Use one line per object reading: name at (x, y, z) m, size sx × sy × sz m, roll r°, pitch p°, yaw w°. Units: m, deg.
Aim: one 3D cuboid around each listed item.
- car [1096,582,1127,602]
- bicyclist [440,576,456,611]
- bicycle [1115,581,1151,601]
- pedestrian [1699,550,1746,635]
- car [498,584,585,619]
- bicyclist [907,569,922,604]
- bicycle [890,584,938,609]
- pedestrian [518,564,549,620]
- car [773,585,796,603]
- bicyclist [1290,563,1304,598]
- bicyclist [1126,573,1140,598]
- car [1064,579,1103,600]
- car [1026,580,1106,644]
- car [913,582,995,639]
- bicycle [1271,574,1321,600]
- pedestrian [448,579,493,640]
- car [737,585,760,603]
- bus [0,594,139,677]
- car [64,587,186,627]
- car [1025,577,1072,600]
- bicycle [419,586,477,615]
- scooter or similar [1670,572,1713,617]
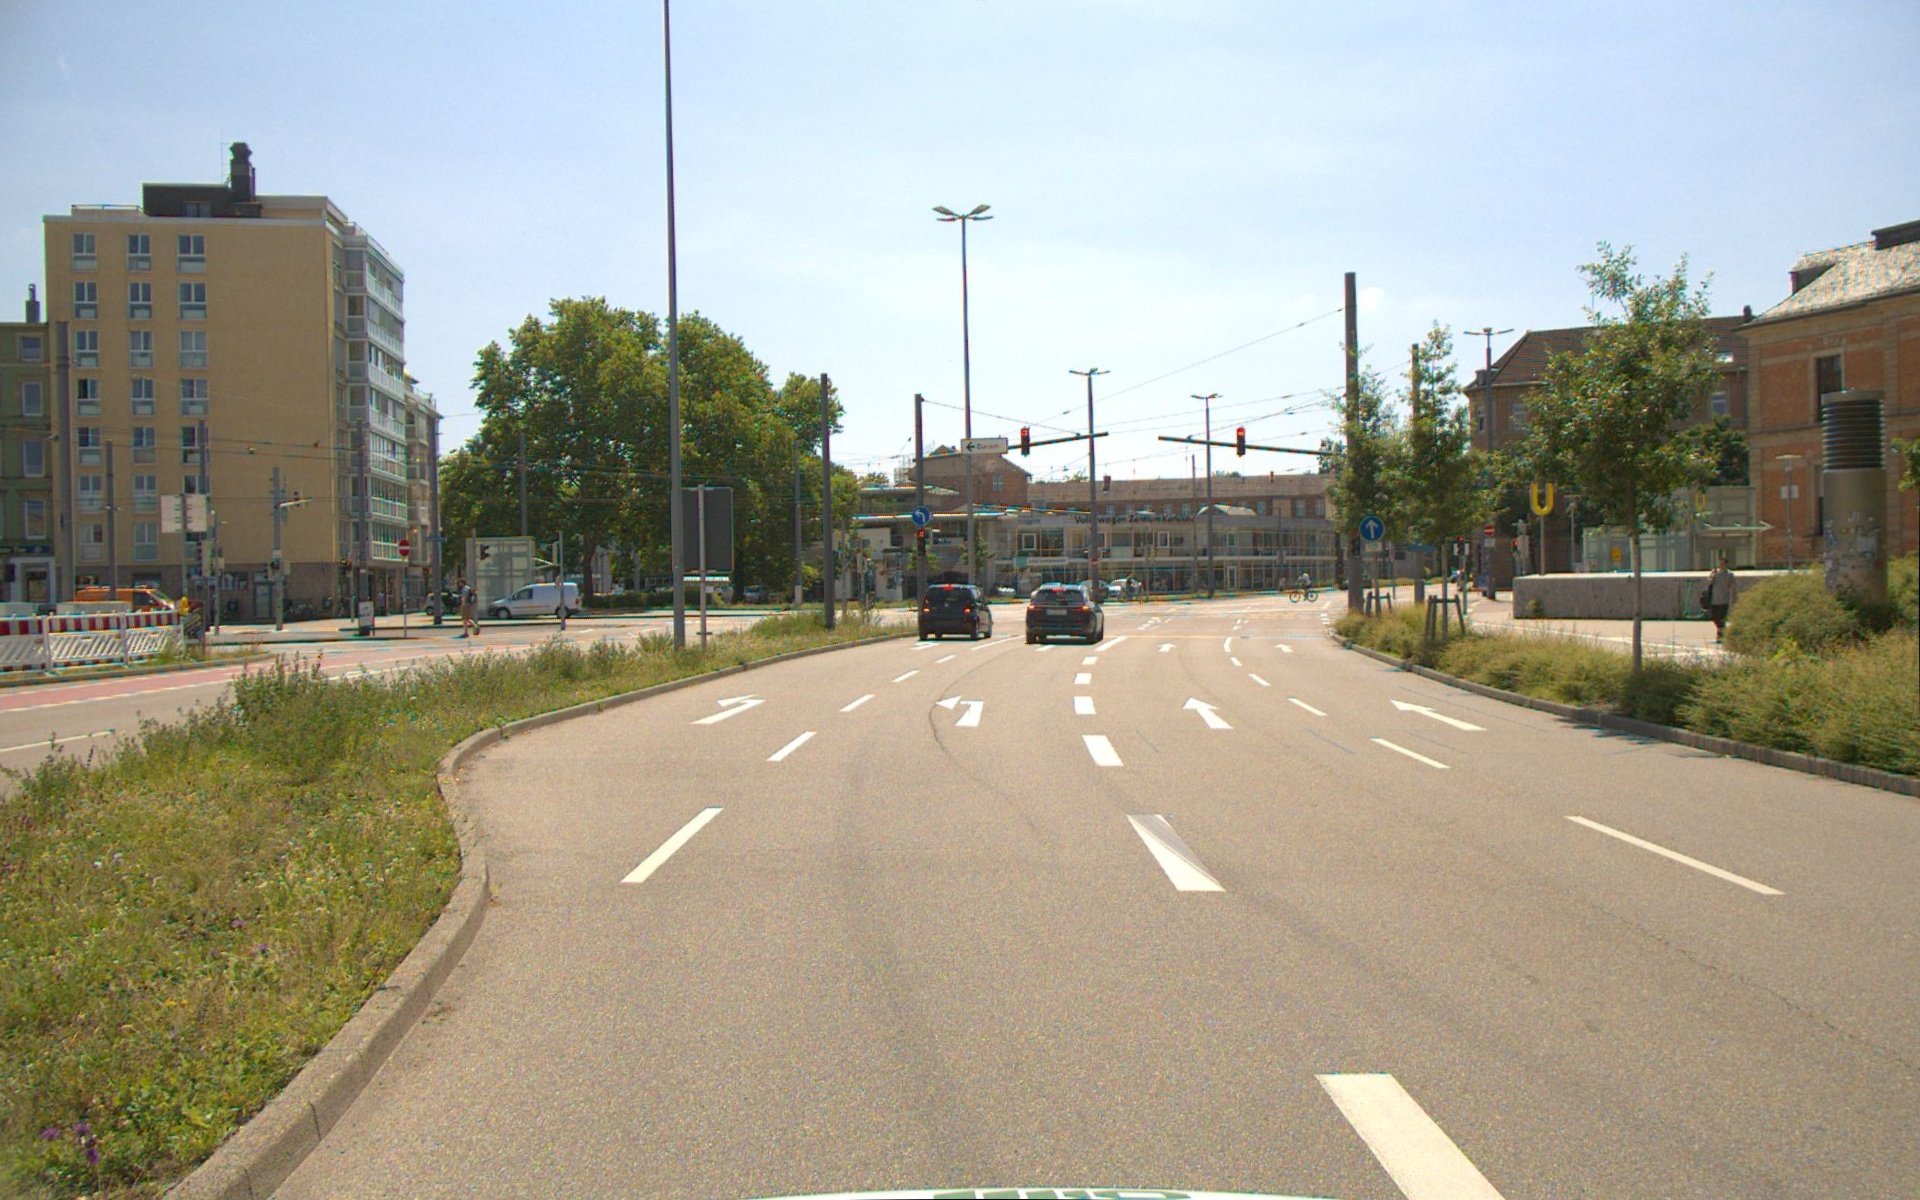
car at (11.031, -0.575, 120.541) m, size 1.402 × 1.307 × 3.262 m, roll 0°, pitch 3°, yaw 22°
bicyclist at (-31.610, -0.419, 102.122) m, size 0.731 × 2.142 × 0.766 m, roll -2°, pitch 3°, yaw -39°
bicycle at (10.594, -0.558, 101.427) m, size 2.120 × 1.126 × 0.456 m, roll -1°, pitch 2°, yaw -9°
pedestrian at (15.795, -0.157, 34.268) m, size 0.716 × 1.735 × 0.811 m, roll 0°, pitch 1°, yaw 11°
car at (-21.648, 0.072, 85.644) m, size 4.229 × 1.655 × 1.811 m, roll -1°, pitch 3°, yaw -11°
bicyclist at (-2.688, -0.790, 97.163) m, size 0.828 × 1.999 × 0.627 m, roll -1°, pitch 2°, yaw 2°
bicycle at (-2.701, -0.205, 97.179) m, size 2.717 × 1.409 × 0.671 m, roll -1°, pitch 2°, yaw 2°
pedestrian at (-23.102, -0.439, 89.669) m, size 1.188 × 2.988 × 1.337 m, roll 0°, pitch 2°, yaw 6°
car at (-15.876, -0.557, 149.630) m, size 1.478 × 1.443 × 3.423 m, roll 0°, pitch 3°, yaw 4°
bicyclist at (19.546, -1.141, 95.856) m, size 0.747 × 1.971 × 0.661 m, roll 0°, pitch 2°, yaw 8°
bicyclist at (10.596, -0.871, 101.401) m, size 0.718 × 1.505 × 0.655 m, roll -1°, pitch 2°, yaw -9°
car at (8.577, -0.740, 114.492) m, size 1.508 × 1.300 × 3.536 m, roll 1°, pitch 3°, yaw 26°
car at (2.866, 0.276, 44.022) m, size 1.680 × 1.584 × 4.591 m, roll -1°, pitch 0°, yaw 9°
car at (-0.120, 0.254, 45.494) m, size 1.586 × 1.489 × 4.004 m, roll -1°, pitch 1°, yaw 9°
bicycle at (19.475, -0.767, 95.883) m, size 2.765 × 1.488 × 0.634 m, roll 0°, pitch 2°, yaw 7°
pedestrian at (-16.407, 0.317, 55.433) m, size 1.154 × 1.966 × 0.903 m, roll 0°, pitch 2°, yaw 3°
car at (-19.248, -0.561, 150.484) m, size 1.395 × 1.534 × 3.440 m, roll 0°, pitch 3°, yaw 4°
bus at (-17.498, 0.651, 30.862) m, size 1.218 × 1.271 × 5.824 m, roll -1°, pitch 3°, yaw 2°
car at (-37.507, 0.293, 74.357) m, size 4.533 × 1.641 × 1.674 m, roll -1°, pitch 3°, yaw -6°
car at (5.854, -0.767, 108.651) m, size 1.588 × 1.414 × 4.121 m, roll -1°, pitch 1°, yaw 26°
bicycle at (-31.615, 0.025, 102.144) m, size 3.289 × 1.623 × 0.808 m, roll -3°, pitch 3°, yaw -38°
scooter or similar at (20.332, -0.159, 45.996) m, size 0.390 × 1.187 × 1.286 m, roll -1°, pitch 3°, yaw -12°
